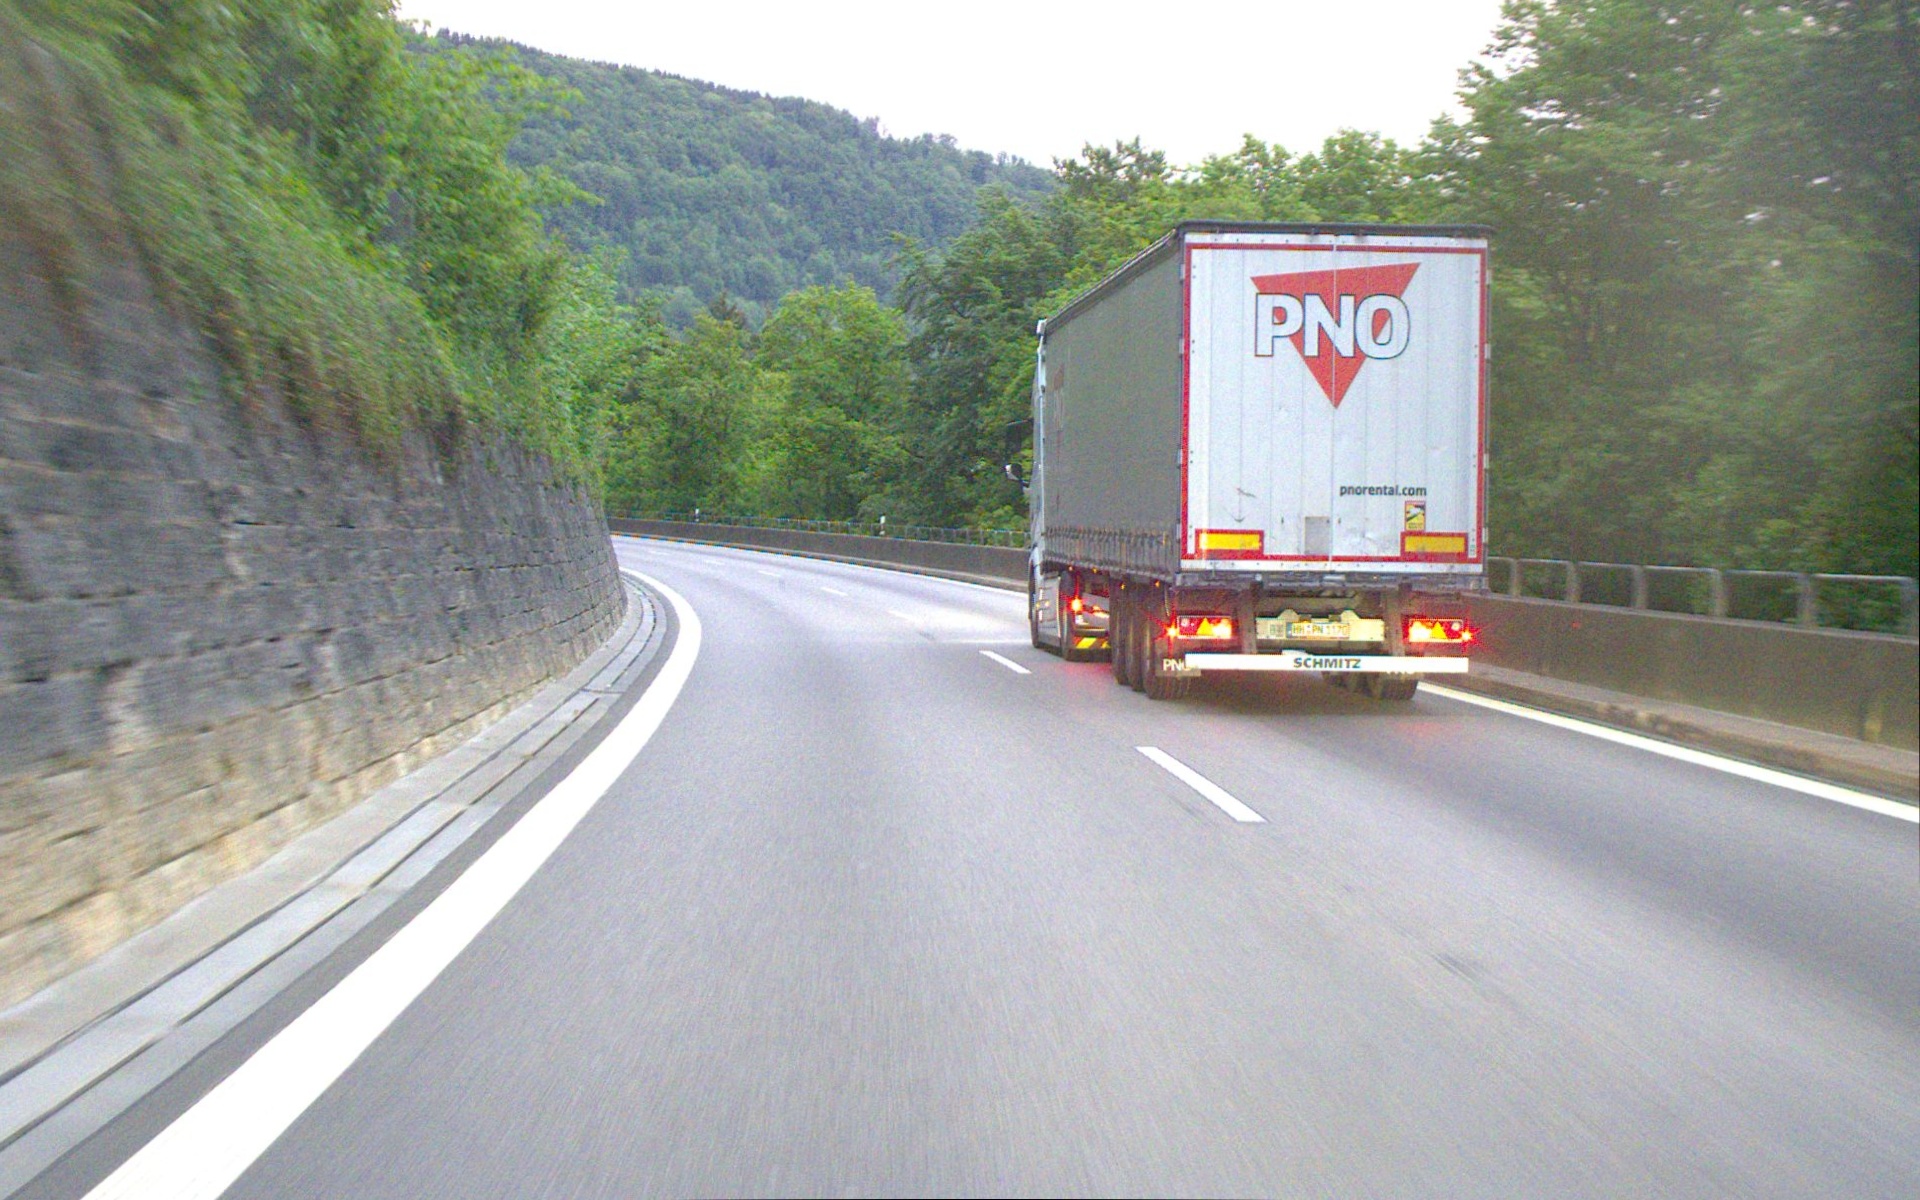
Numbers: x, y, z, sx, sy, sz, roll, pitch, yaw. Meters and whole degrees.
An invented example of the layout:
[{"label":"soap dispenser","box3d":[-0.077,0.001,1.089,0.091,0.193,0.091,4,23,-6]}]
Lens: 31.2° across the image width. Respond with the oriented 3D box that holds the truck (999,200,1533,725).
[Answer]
[{"label":"truck","box3d":[2.554,-1.274,35.901,3.294,4.158,16.505,1,1,-3]}]
